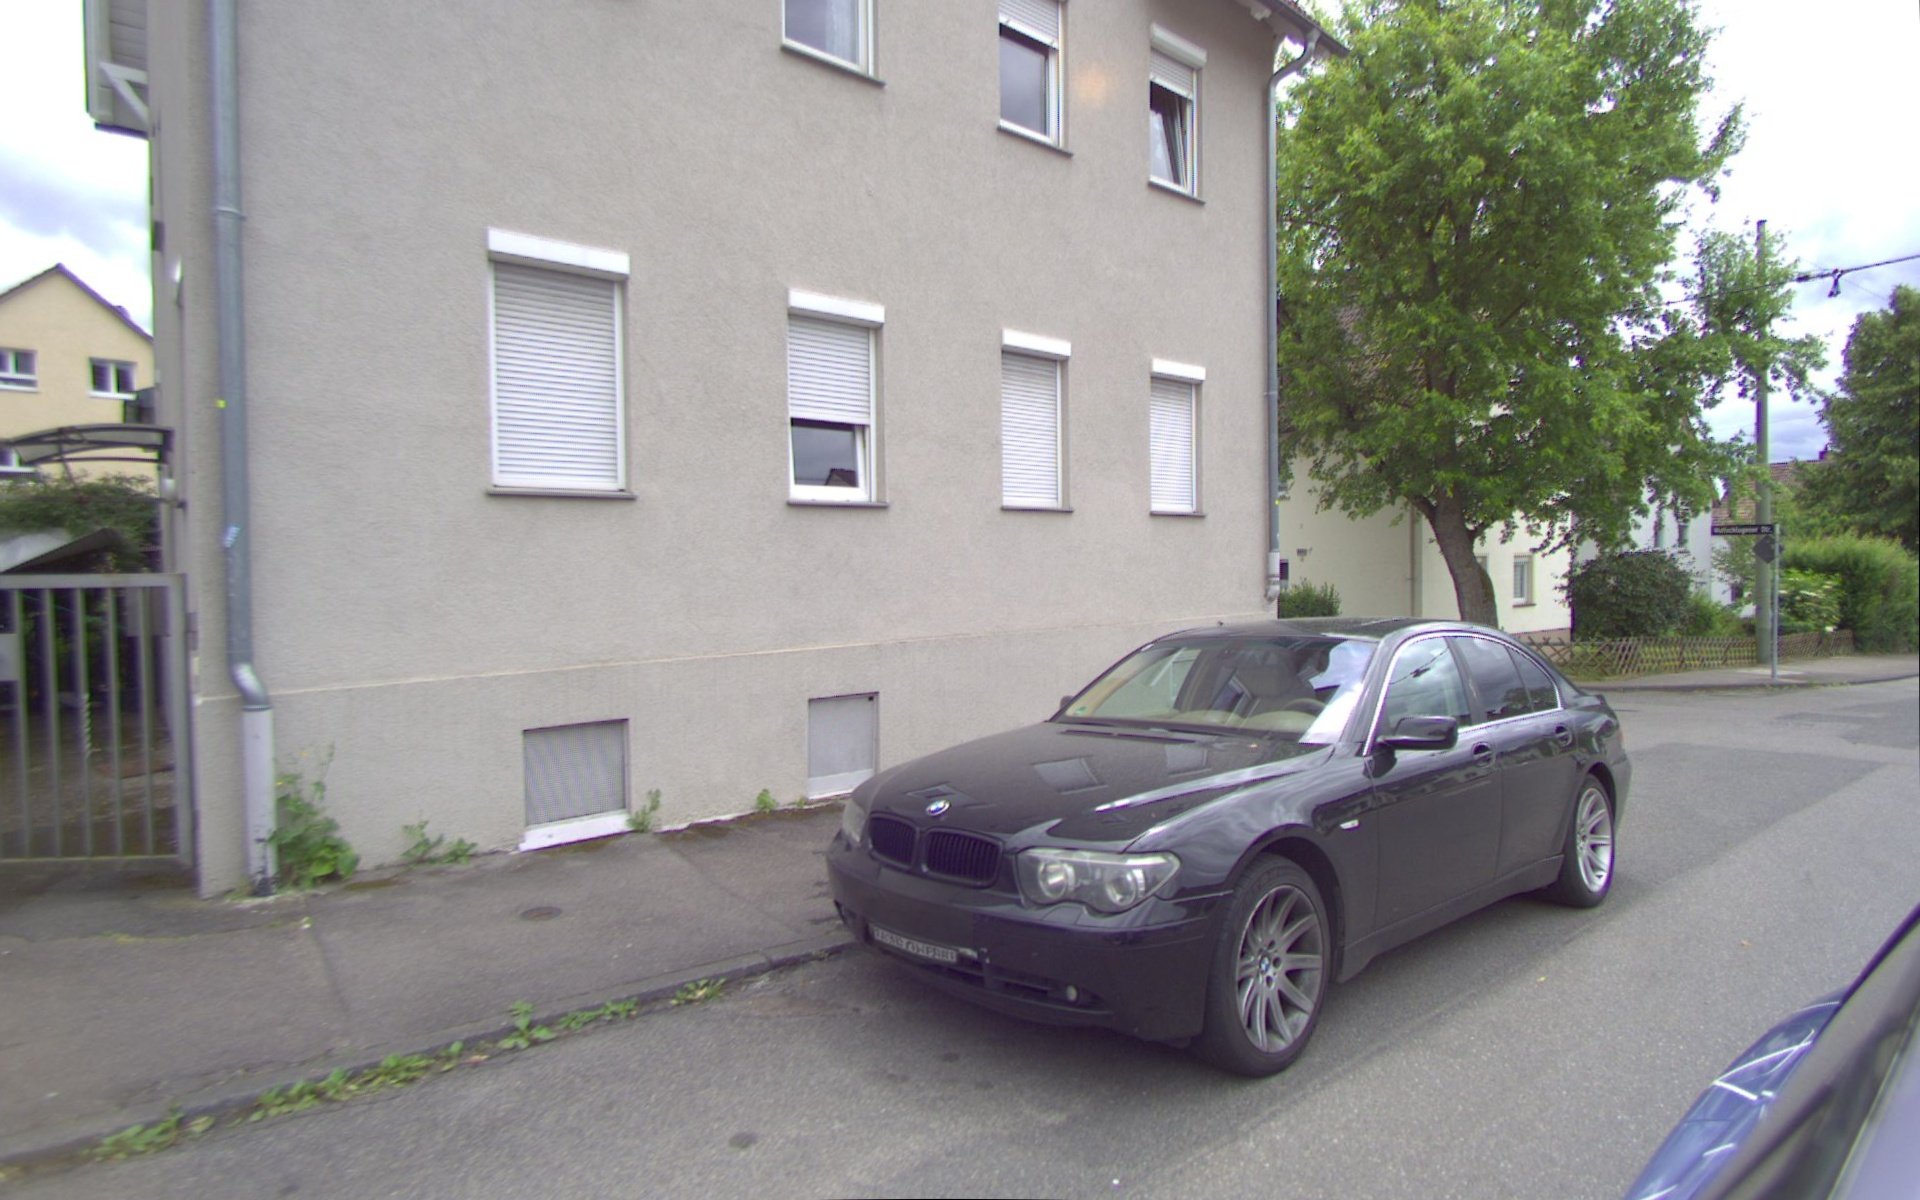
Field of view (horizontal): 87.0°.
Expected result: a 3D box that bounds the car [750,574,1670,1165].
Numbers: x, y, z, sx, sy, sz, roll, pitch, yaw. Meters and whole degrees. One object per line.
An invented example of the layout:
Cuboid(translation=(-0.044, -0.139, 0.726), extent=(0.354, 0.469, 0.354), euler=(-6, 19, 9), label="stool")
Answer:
Cuboid(translation=(1.591, 0.719, 4.986), extent=(4.805, 1.537, 1.997), euler=(0, -1, -41), label="car")
